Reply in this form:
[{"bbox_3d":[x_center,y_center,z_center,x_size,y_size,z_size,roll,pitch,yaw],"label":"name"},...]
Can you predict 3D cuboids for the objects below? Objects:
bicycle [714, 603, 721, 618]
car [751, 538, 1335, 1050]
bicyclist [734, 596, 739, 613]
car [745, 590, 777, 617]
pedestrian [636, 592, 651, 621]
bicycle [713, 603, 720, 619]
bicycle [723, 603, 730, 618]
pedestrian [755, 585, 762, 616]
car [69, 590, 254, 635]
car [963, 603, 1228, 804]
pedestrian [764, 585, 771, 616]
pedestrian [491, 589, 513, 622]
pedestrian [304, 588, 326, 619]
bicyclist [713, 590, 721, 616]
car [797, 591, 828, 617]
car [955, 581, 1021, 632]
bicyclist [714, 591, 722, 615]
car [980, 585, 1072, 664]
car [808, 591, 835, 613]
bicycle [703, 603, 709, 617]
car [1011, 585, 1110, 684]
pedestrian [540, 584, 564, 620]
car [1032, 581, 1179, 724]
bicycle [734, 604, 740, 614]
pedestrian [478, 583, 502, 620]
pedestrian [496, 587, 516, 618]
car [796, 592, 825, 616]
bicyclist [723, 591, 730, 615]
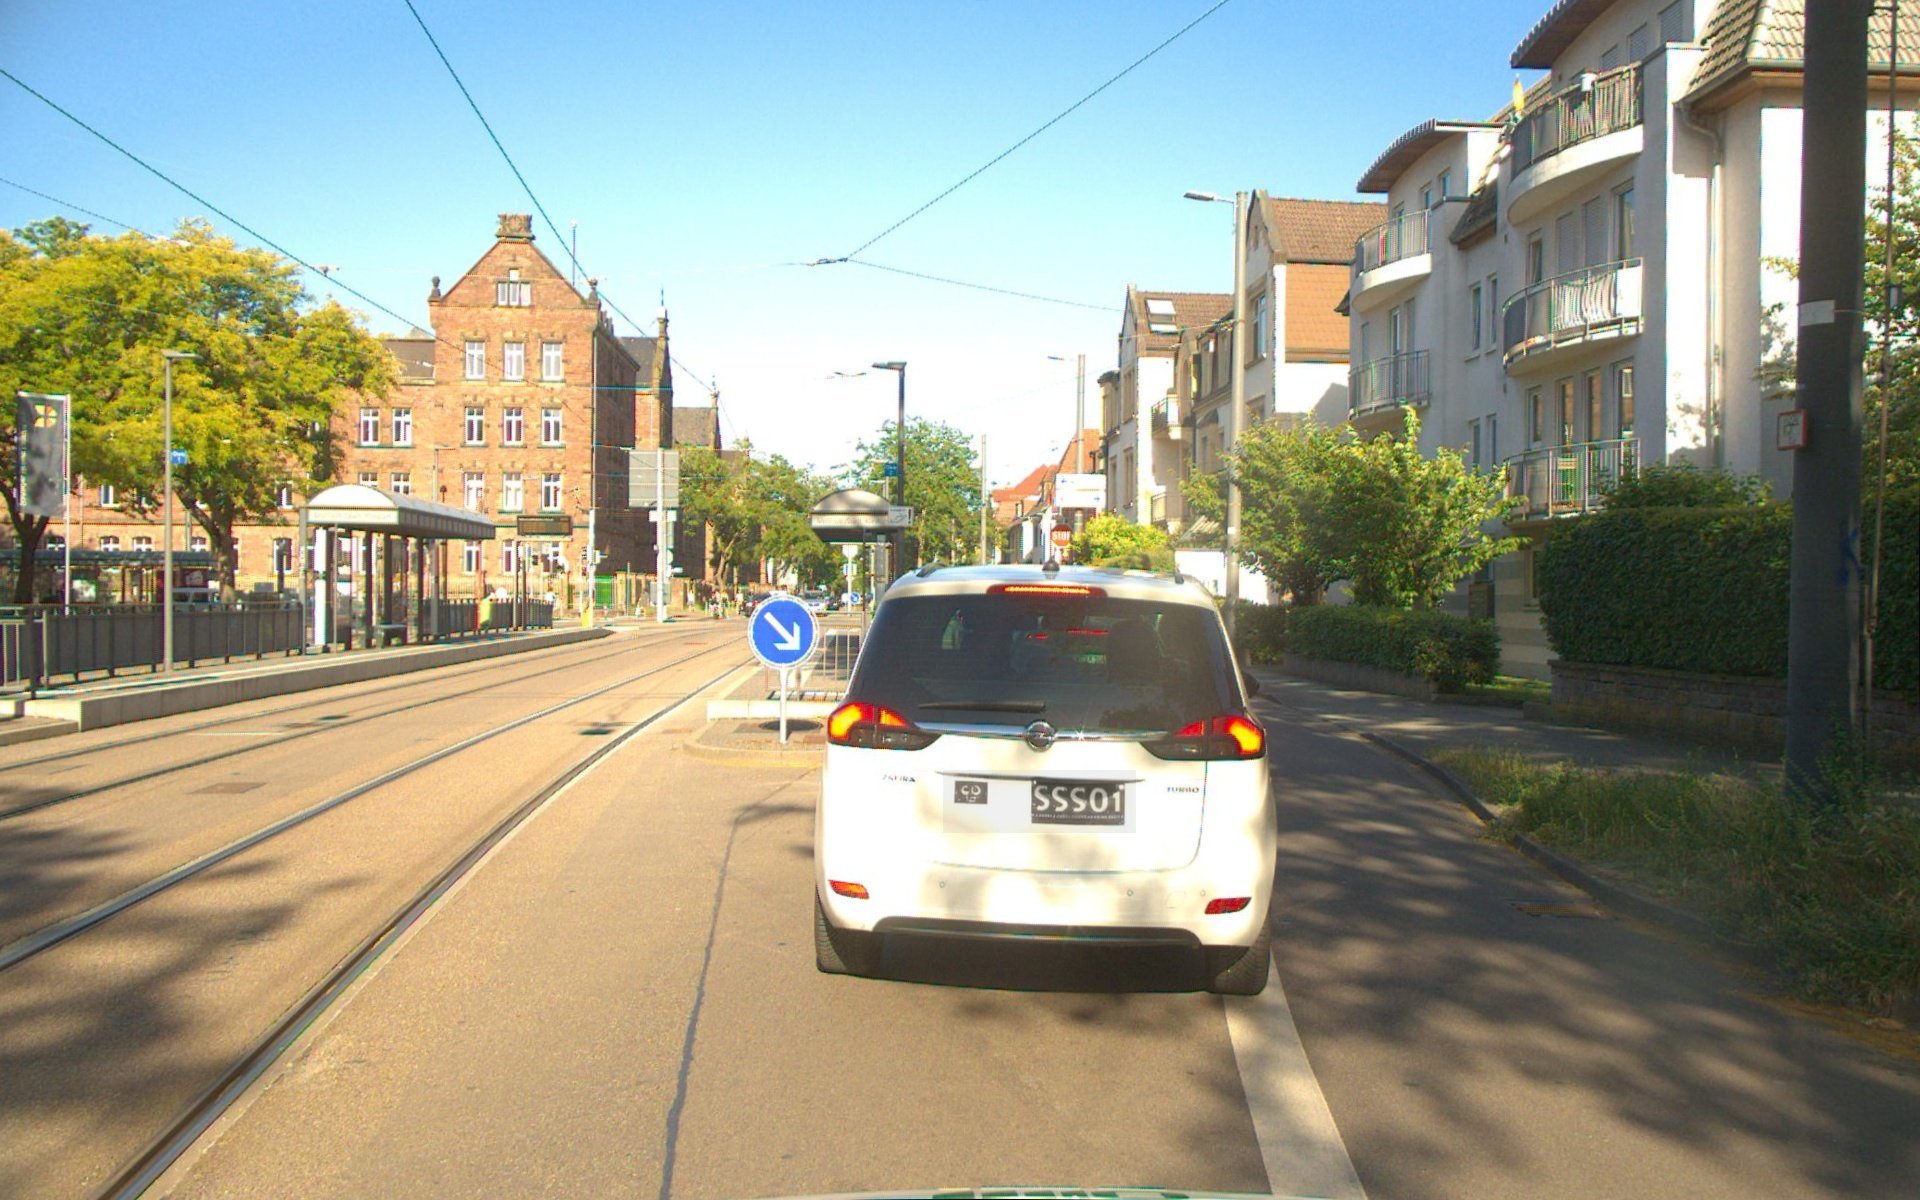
[{"bbox_3d":[-15.604,0.673,106.364,0.337,0.966,0.996,1,0,-4],"label":"bicycle"},{"bbox_3d":[0.462,0.650,7.596,1.951,1.673,3.996,1,0,6],"label":"car"},{"bbox_3d":[-17.487,0.317,129.613,0.352,1.326,0.397,0,0,-4],"label":"bicyclist"},{"bbox_3d":[-12.850,0.210,106.886,1.955,1.657,3.996,0,0,-5],"label":"car"},{"bbox_3d":[-18.977,0.387,99.273,0.719,1.744,0.706,1,-1,-1],"label":"pedestrian"},{"bbox_3d":[-15.155,0.665,102.839,0.337,0.966,1.159,1,0,-4],"label":"bicycle"},{"bbox_3d":[-15.386,0.688,108.917,0.337,0.966,0.996,1,0,-4],"label":"bicycle"},{"bbox_3d":[-13.640,0.021,111.743,0.435,2.049,0.495,0,0,-4],"label":"pedestrian"},{"bbox_3d":[-35.719,0.537,74.190,6.810,1.954,2.991,0,0,-2],"label":"car"},{"bbox_3d":[1.036,0.751,13.984,1.912,1.422,4.001,0,0,1],"label":"car"},{"bbox_3d":[-13.050,0.032,112.048,0.435,2.049,0.495,0,0,-4],"label":"pedestrian"},{"bbox_3d":[-22.404,0.271,80.933,0.786,1.616,0.934,1,0,-3],"label":"pedestrian"},{"bbox_3d":[-34.228,0.169,87.778,0.914,1.616,0.803,0,0,-9],"label":"pedestrian"},{"bbox_3d":[-15.147,0.190,103.047,0.435,1.580,0.742,0,0,-4],"label":"bicyclist"},{"bbox_3d":[-9.539,0.260,107.159,1.955,1.657,3.996,0,0,-5],"label":"car"},{"bbox_3d":[0.835,0.200,51.767,1.953,1.529,3.999,0,0,-1],"label":"car"},{"bbox_3d":[-15.567,0.198,106.323,0.435,1.580,0.495,0,0,-4],"label":"bicyclist"},{"bbox_3d":[1.385,0.498,36.190,1.793,1.607,4.009,0,0,-1],"label":"car"},{"bbox_3d":[-10.934,0.159,130.482,1.953,1.657,3.998,0,0,-3],"label":"car"},{"bbox_3d":[-17.648,0.674,114.858,0.337,0.966,0.996,1,0,-4],"label":"bicycle"},{"bbox_3d":[1.719,0.556,29.271,1.603,1.629,3.855,0,0,1],"label":"car"},{"bbox_3d":[-19.682,0.120,79.795,0.877,1.713,1.029,1,0,-1],"label":"pedestrian"},{"bbox_3d":[1.746,0.589,20.842,1.603,1.629,3.855,0,0,1],"label":"car"},{"bbox_3d":[-17.479,0.716,129.571,0.337,0.737,0.996,1,0,-4],"label":"bicycle"},{"bbox_3d":[-22.345,0.076,78.585,0.825,1.721,1.029,1,0,-1],"label":"pedestrian"},{"bbox_3d":[-23.287,0.128,84.892,0.786,1.616,0.934,1,0,-3],"label":"pedestrian"},{"bbox_3d":[-10.344,0.277,114.253,1.955,1.657,3.996,0,0,-5],"label":"car"},{"bbox_3d":[-15.376,0.213,108.910,0.435,1.580,0.495,0,0,-4],"label":"bicyclist"}]
